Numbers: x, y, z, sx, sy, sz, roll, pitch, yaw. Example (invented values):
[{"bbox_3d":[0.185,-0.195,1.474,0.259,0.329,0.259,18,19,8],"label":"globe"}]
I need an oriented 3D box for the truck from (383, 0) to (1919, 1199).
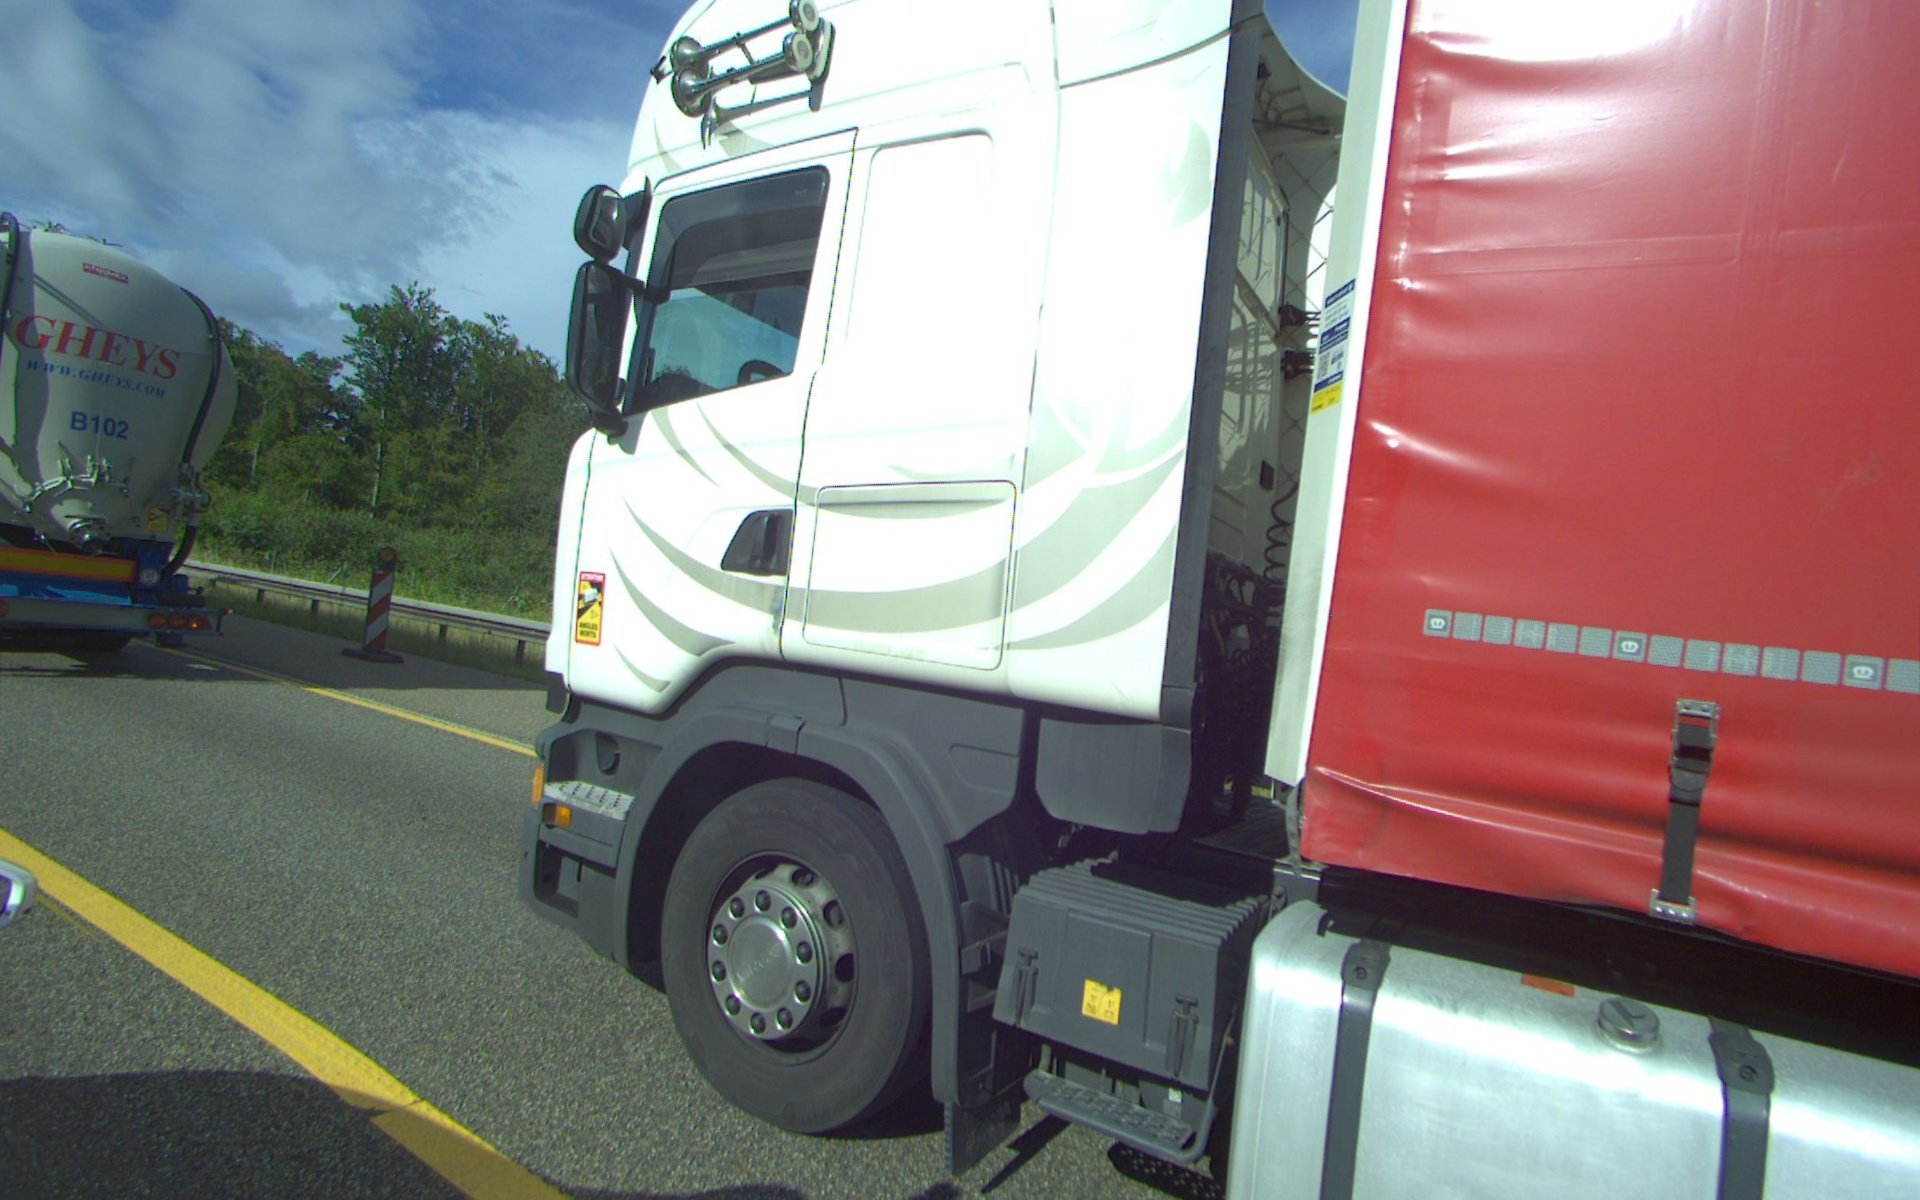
[{"bbox_3d":[1.273,-0.393,3.288,5.614,4.006,2.673,7,-1,31],"label":"truck"}]

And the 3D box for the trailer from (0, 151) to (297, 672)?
[{"bbox_3d":[-12.542,-2.018,11.736,12.387,3.989,2.649,7,-1,31],"label":"trailer"}]
